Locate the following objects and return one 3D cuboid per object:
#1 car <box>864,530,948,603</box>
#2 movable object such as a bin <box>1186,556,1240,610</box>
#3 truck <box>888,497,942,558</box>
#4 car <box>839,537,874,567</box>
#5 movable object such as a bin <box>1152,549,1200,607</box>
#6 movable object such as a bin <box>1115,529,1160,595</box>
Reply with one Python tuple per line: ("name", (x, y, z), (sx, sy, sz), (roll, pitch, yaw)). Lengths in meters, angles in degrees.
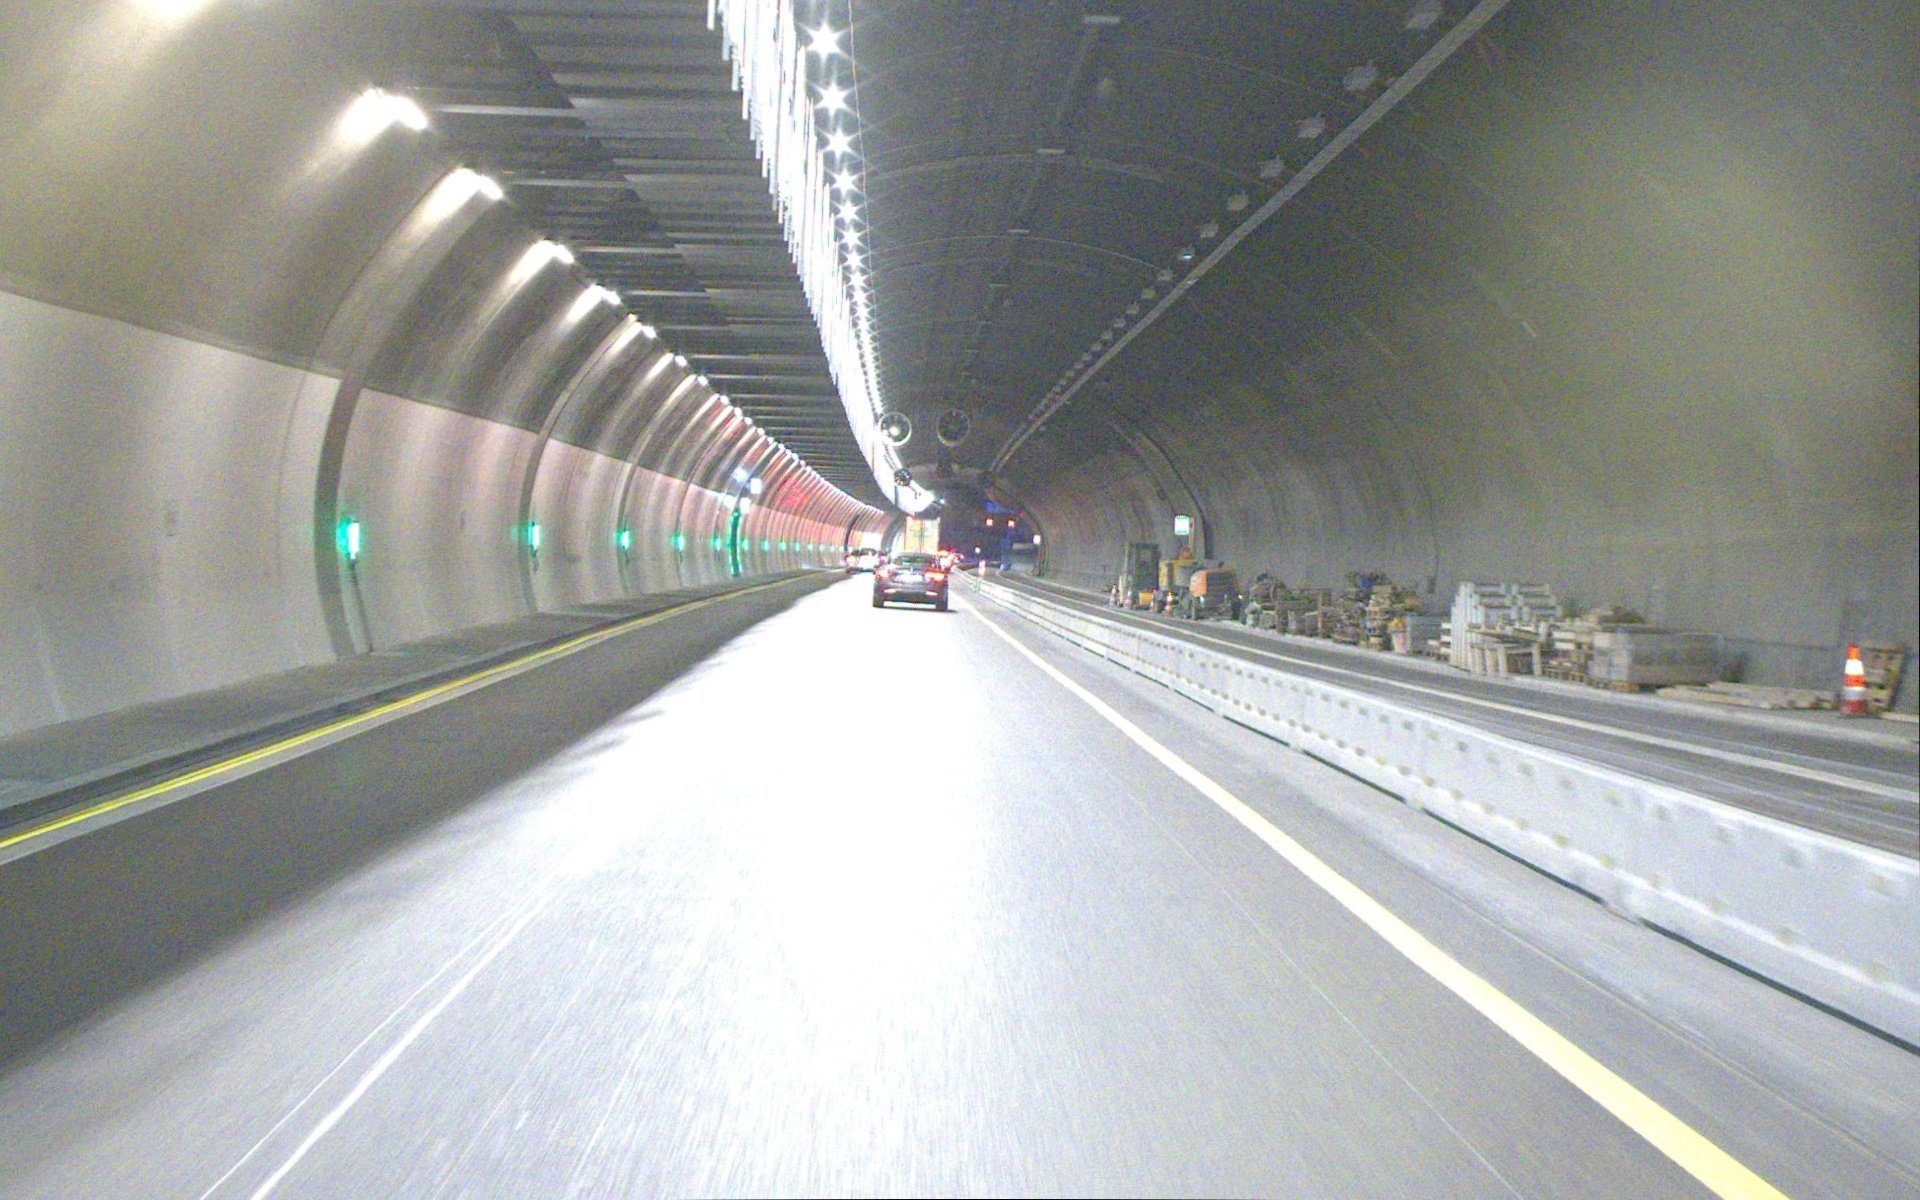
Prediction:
("car", (-1.385, -0.857, 86.320), (1.946, 1.788, 4.001), (0, 1, -3))
("movable object such as a bin", (6.974, -0.484, 94.926), (1.234, 1.437, 2.217), (2, 1, -1))
("truck", (-3.501, -5.571, 265.279), (4.066, 4.517, 14.966), (0, 1, -1))
("car", (-5.900, -2.749, 196.083), (1.930, 1.681, 4.000), (0, 1, -1))
("movable object such as a bin", (6.683, -0.695, 106.288), (1.234, 1.713, 2.217), (2, 1, -1))
("movable object such as a bin", (5.835, -1.256, 112.943), (1.234, 2.133, 2.217), (2, 1, -1))
